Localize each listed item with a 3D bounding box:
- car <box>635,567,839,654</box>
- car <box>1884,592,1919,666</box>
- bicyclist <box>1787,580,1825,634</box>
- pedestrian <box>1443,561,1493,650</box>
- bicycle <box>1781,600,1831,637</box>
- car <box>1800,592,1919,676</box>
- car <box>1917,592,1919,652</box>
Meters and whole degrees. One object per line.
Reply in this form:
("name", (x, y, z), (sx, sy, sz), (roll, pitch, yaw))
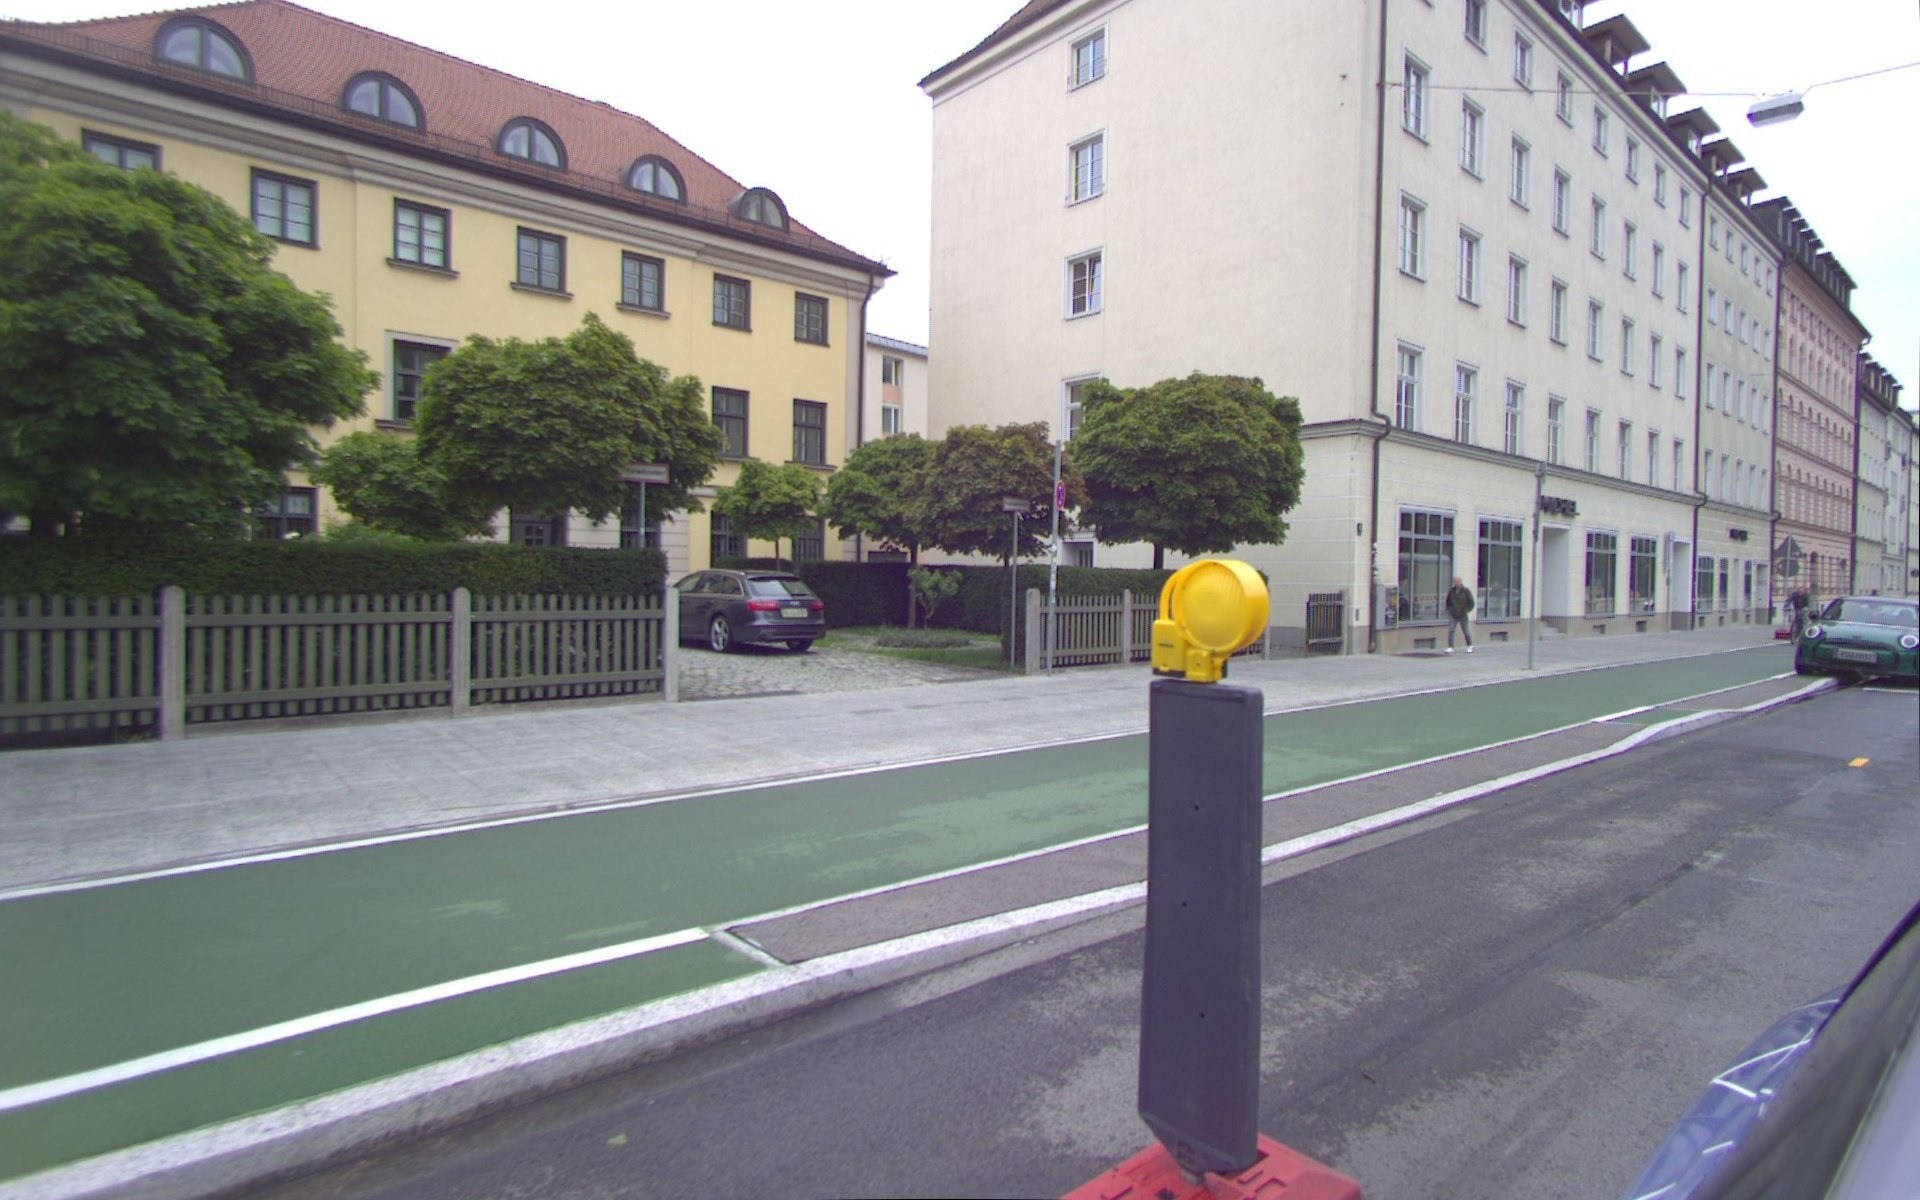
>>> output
("car", (-4.263, 0.119, 18.884), (1.824, 1.435, 4.299), (0, 2, -43))
("car", (20.562, 0.563, 20.912), (3.930, 1.451, 1.738), (0, 1, -41))
("bicyclist", (24.966, 0.200, 29.865), (0.843, 1.572, 0.723), (0, 0, -41))
("pedestrian", (11.181, 0.101, 22.281), (0.811, 1.897, 0.654), (0, 2, -41))
("bicycle", (24.995, 0.516, 29.888), (2.487, 1.045, 0.750), (0, 0, -41))
("car", (16.415, 0.531, 17.944), (3.930, 1.337, 1.738), (0, 1, -41))
("car", (25.162, 0.530, 25.079), (3.930, 1.451, 1.738), (0, 1, -41))
